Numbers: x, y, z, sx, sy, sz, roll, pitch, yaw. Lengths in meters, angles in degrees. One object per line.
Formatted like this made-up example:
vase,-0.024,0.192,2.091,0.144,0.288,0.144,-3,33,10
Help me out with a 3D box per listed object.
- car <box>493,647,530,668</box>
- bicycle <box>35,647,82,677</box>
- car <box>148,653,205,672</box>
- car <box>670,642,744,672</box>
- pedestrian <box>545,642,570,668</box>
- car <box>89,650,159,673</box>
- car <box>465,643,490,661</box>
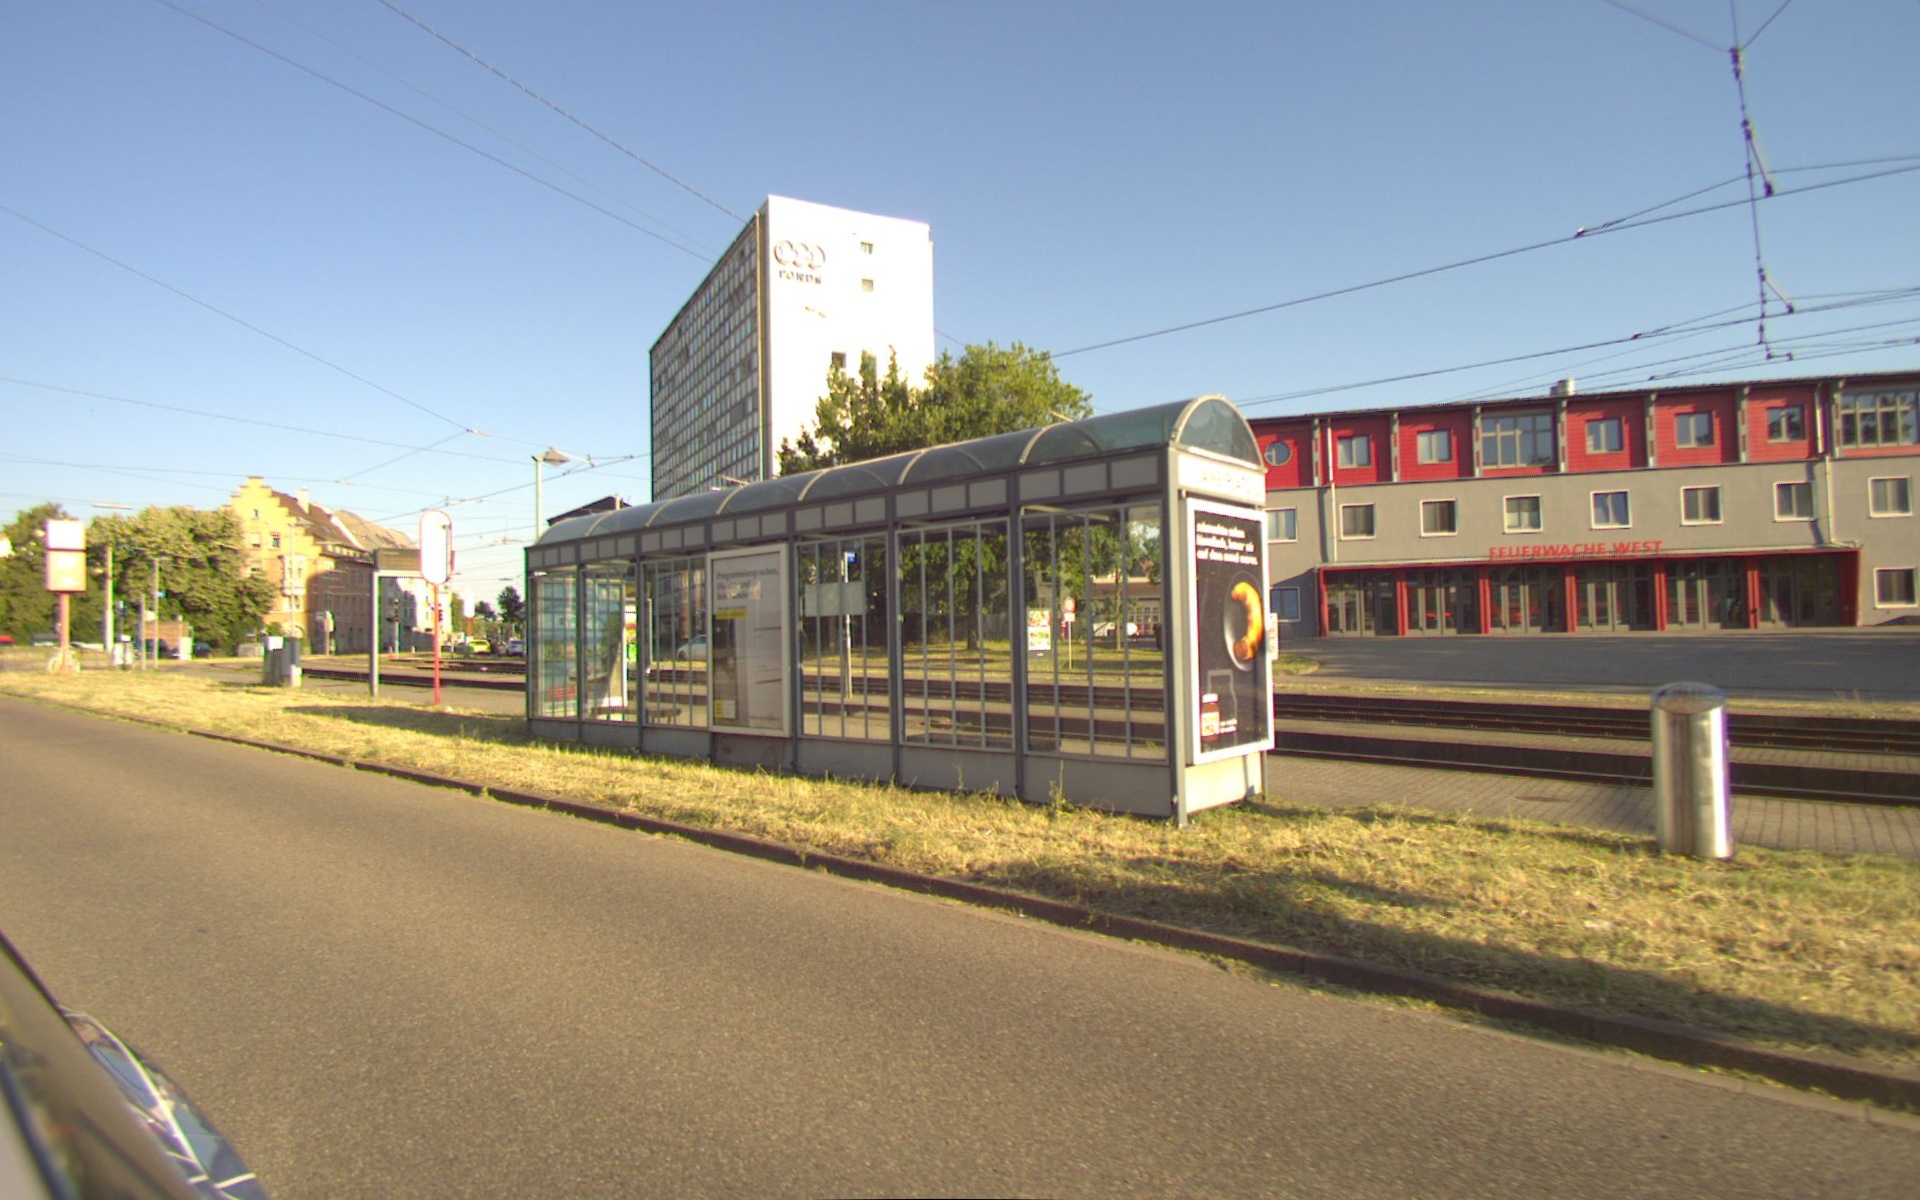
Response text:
car,-33.653,4.275,75.882,1.713,1.485,4.138,1,-3,-37
bicycle,-31.284,2.135,35.147,0.597,1.001,1.752,0,-2,-20
car,-63.565,5.089,82.198,1.716,1.425,3.981,-1,-2,-3
car,-13.636,3.065,54.439,4.435,1.560,1.717,-3,-3,43
pedestrian,-20.549,2.781,51.653,0.661,1.277,0.942,-1,-2,37
car,-57.817,4.204,70.051,1.716,1.485,3.981,-1,-2,-3
car,-42.248,4.545,88.605,1.712,1.485,4.142,0,-2,-22
